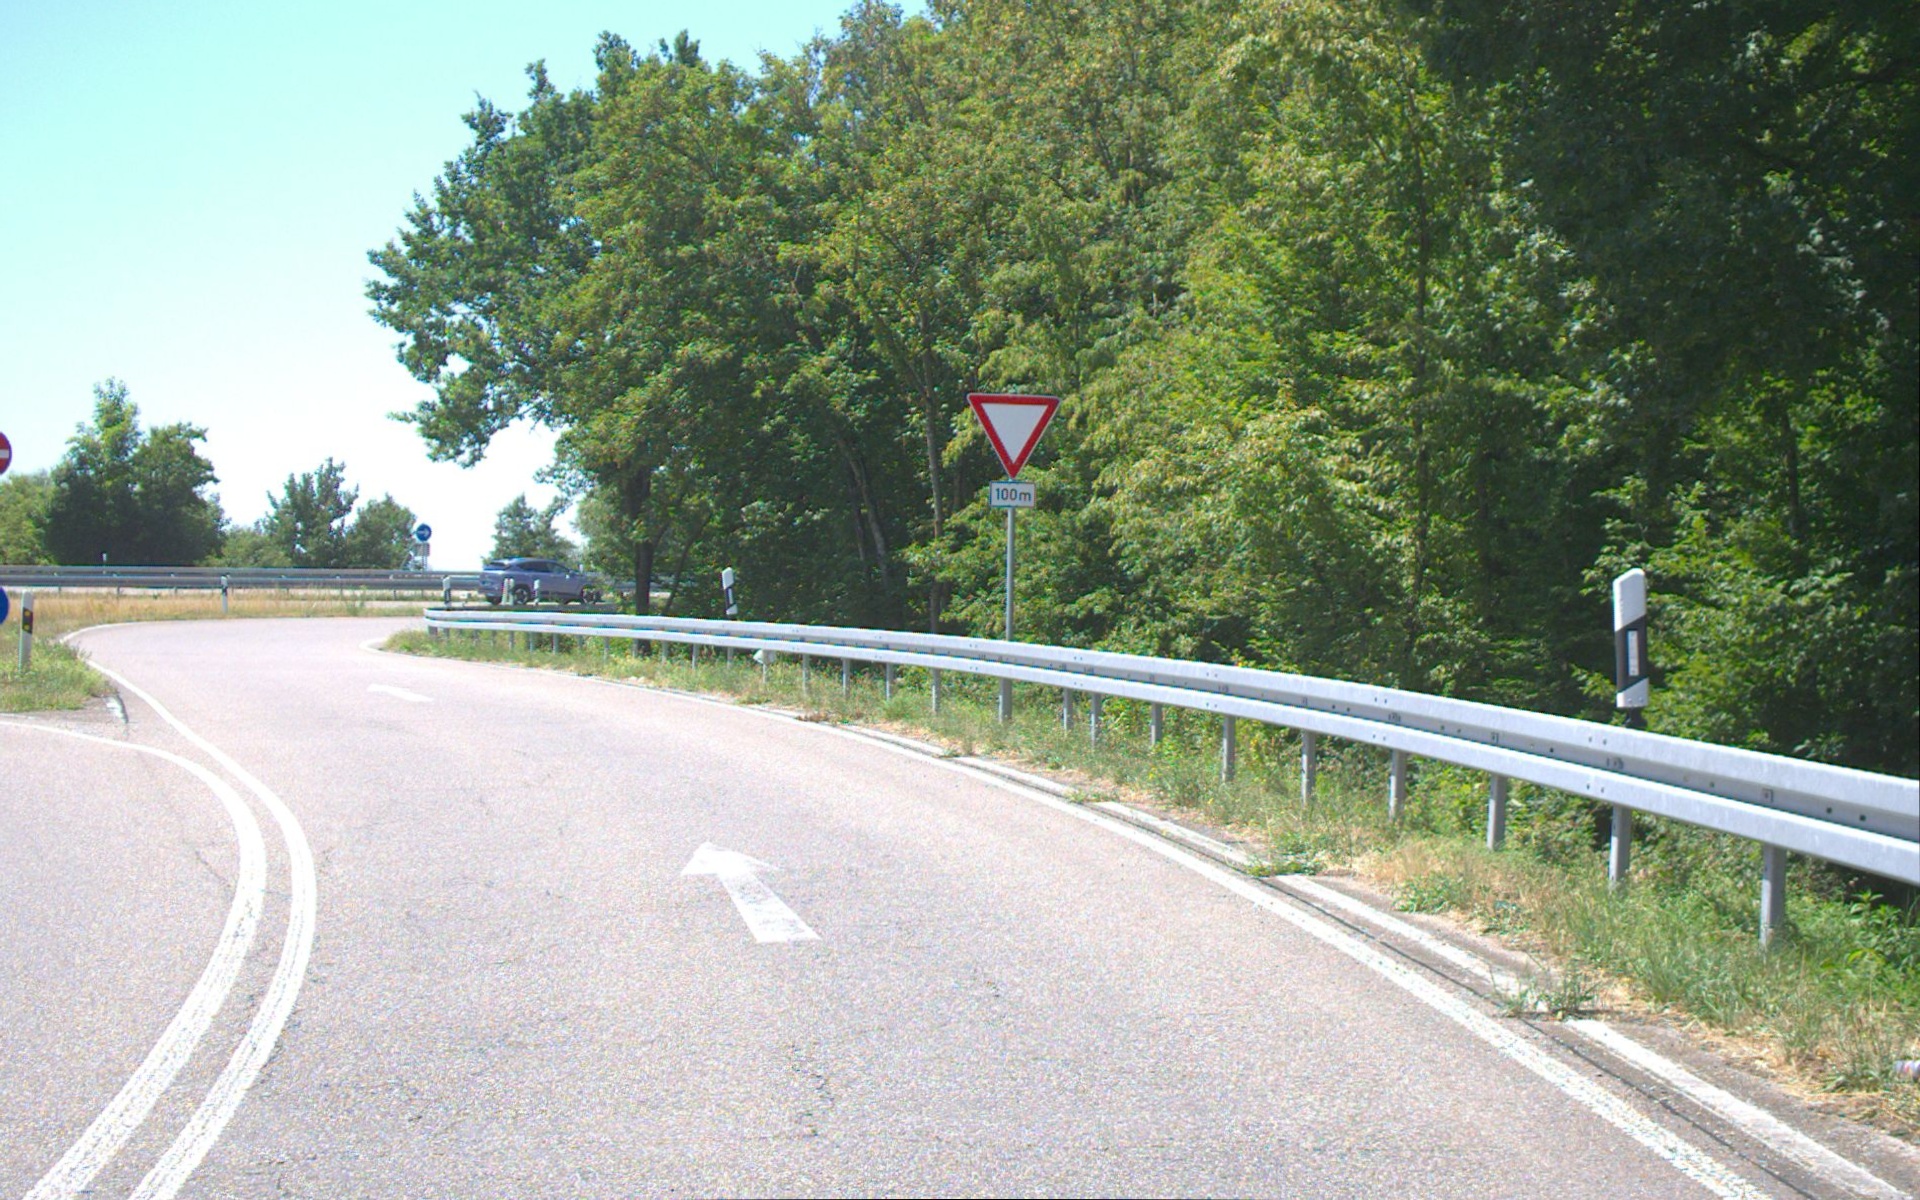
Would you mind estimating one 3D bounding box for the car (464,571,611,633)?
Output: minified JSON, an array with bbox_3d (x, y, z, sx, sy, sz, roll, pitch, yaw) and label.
[{"bbox_3d":[-14.276,0.070,116.275,4.515,1.921,1.999,3,-2,-39],"label":"car"}]
